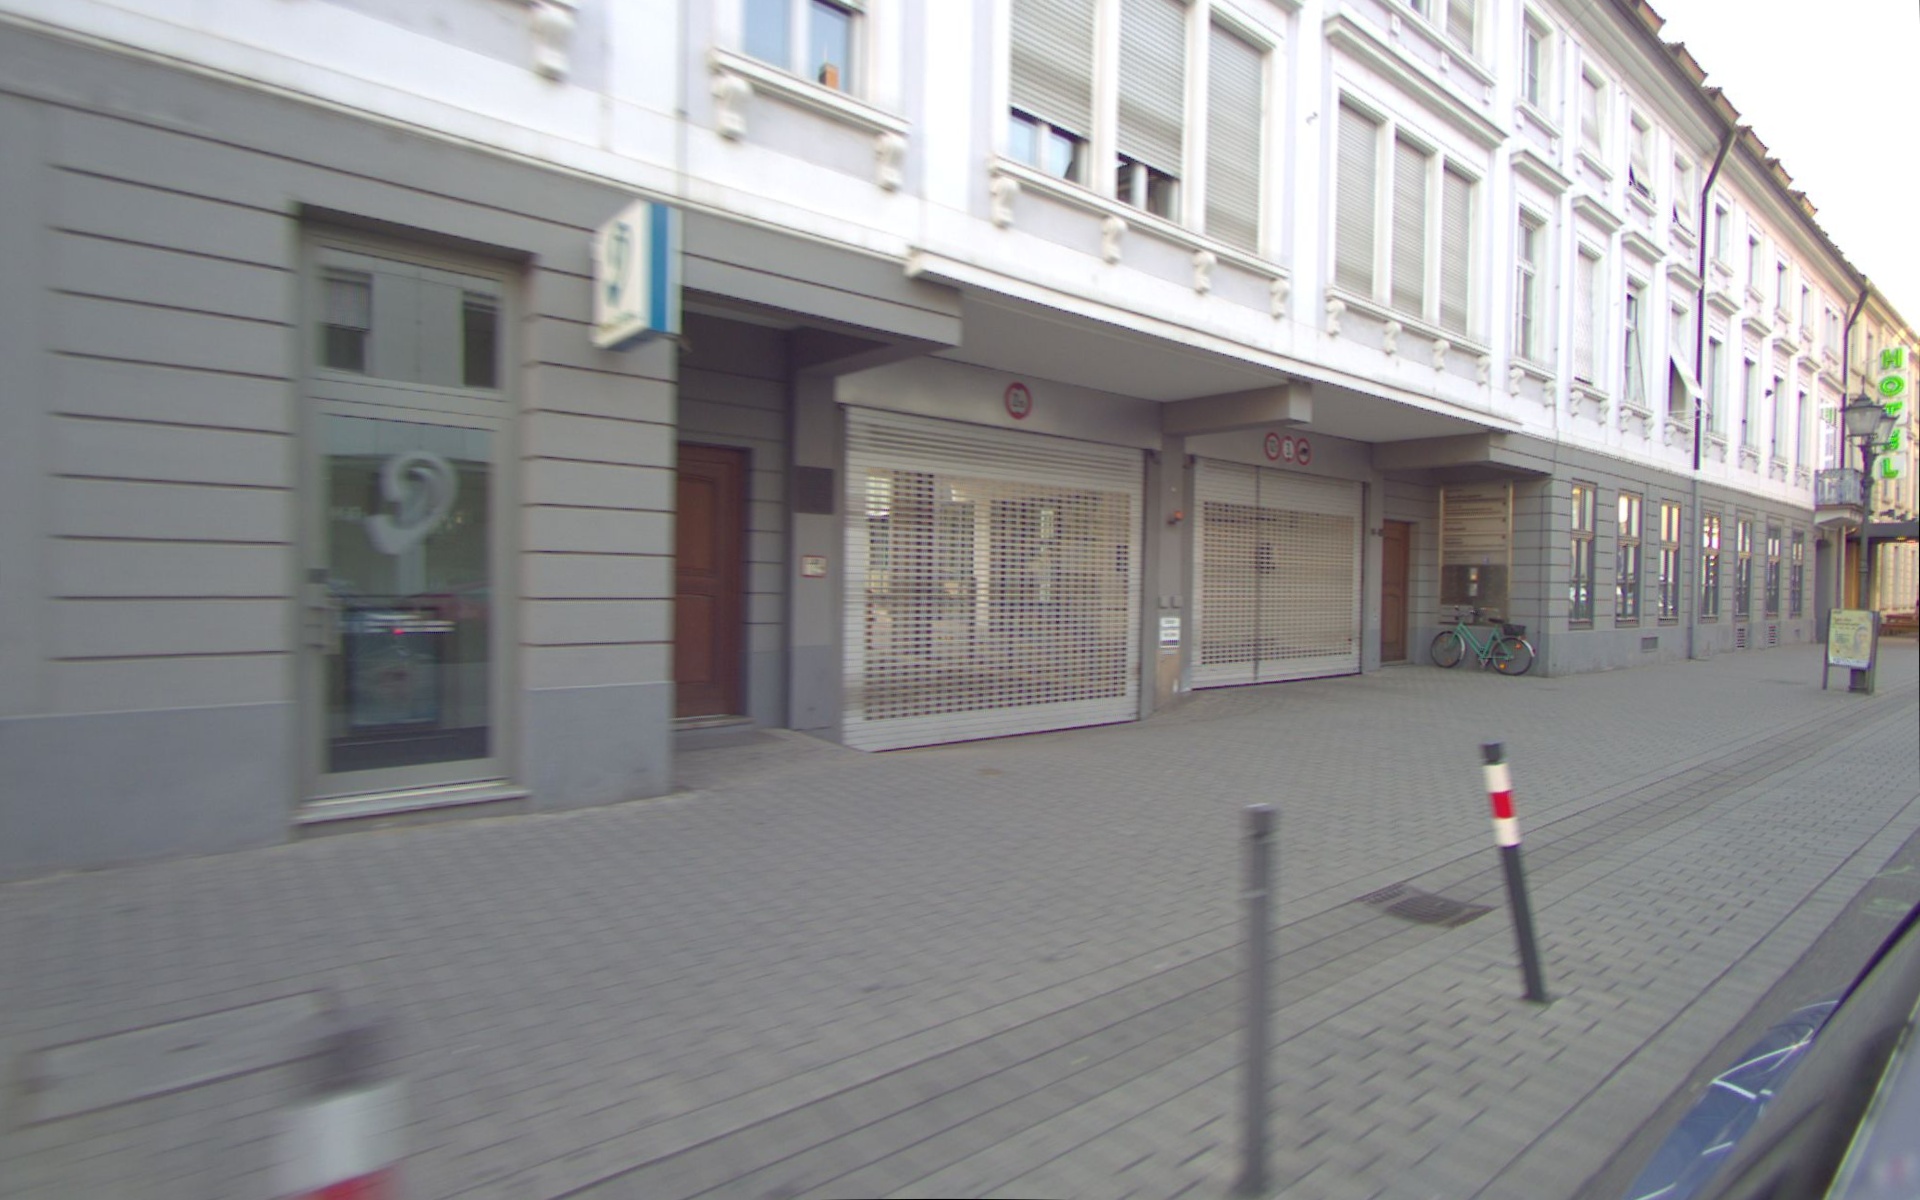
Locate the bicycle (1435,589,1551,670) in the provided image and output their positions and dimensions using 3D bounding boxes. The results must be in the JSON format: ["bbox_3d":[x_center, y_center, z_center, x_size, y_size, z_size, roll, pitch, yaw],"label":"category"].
[{"bbox_3d":[8.892,0.466,16.948,0.431,1.268,1.659,0,1,-42],"label":"bicycle"}]
